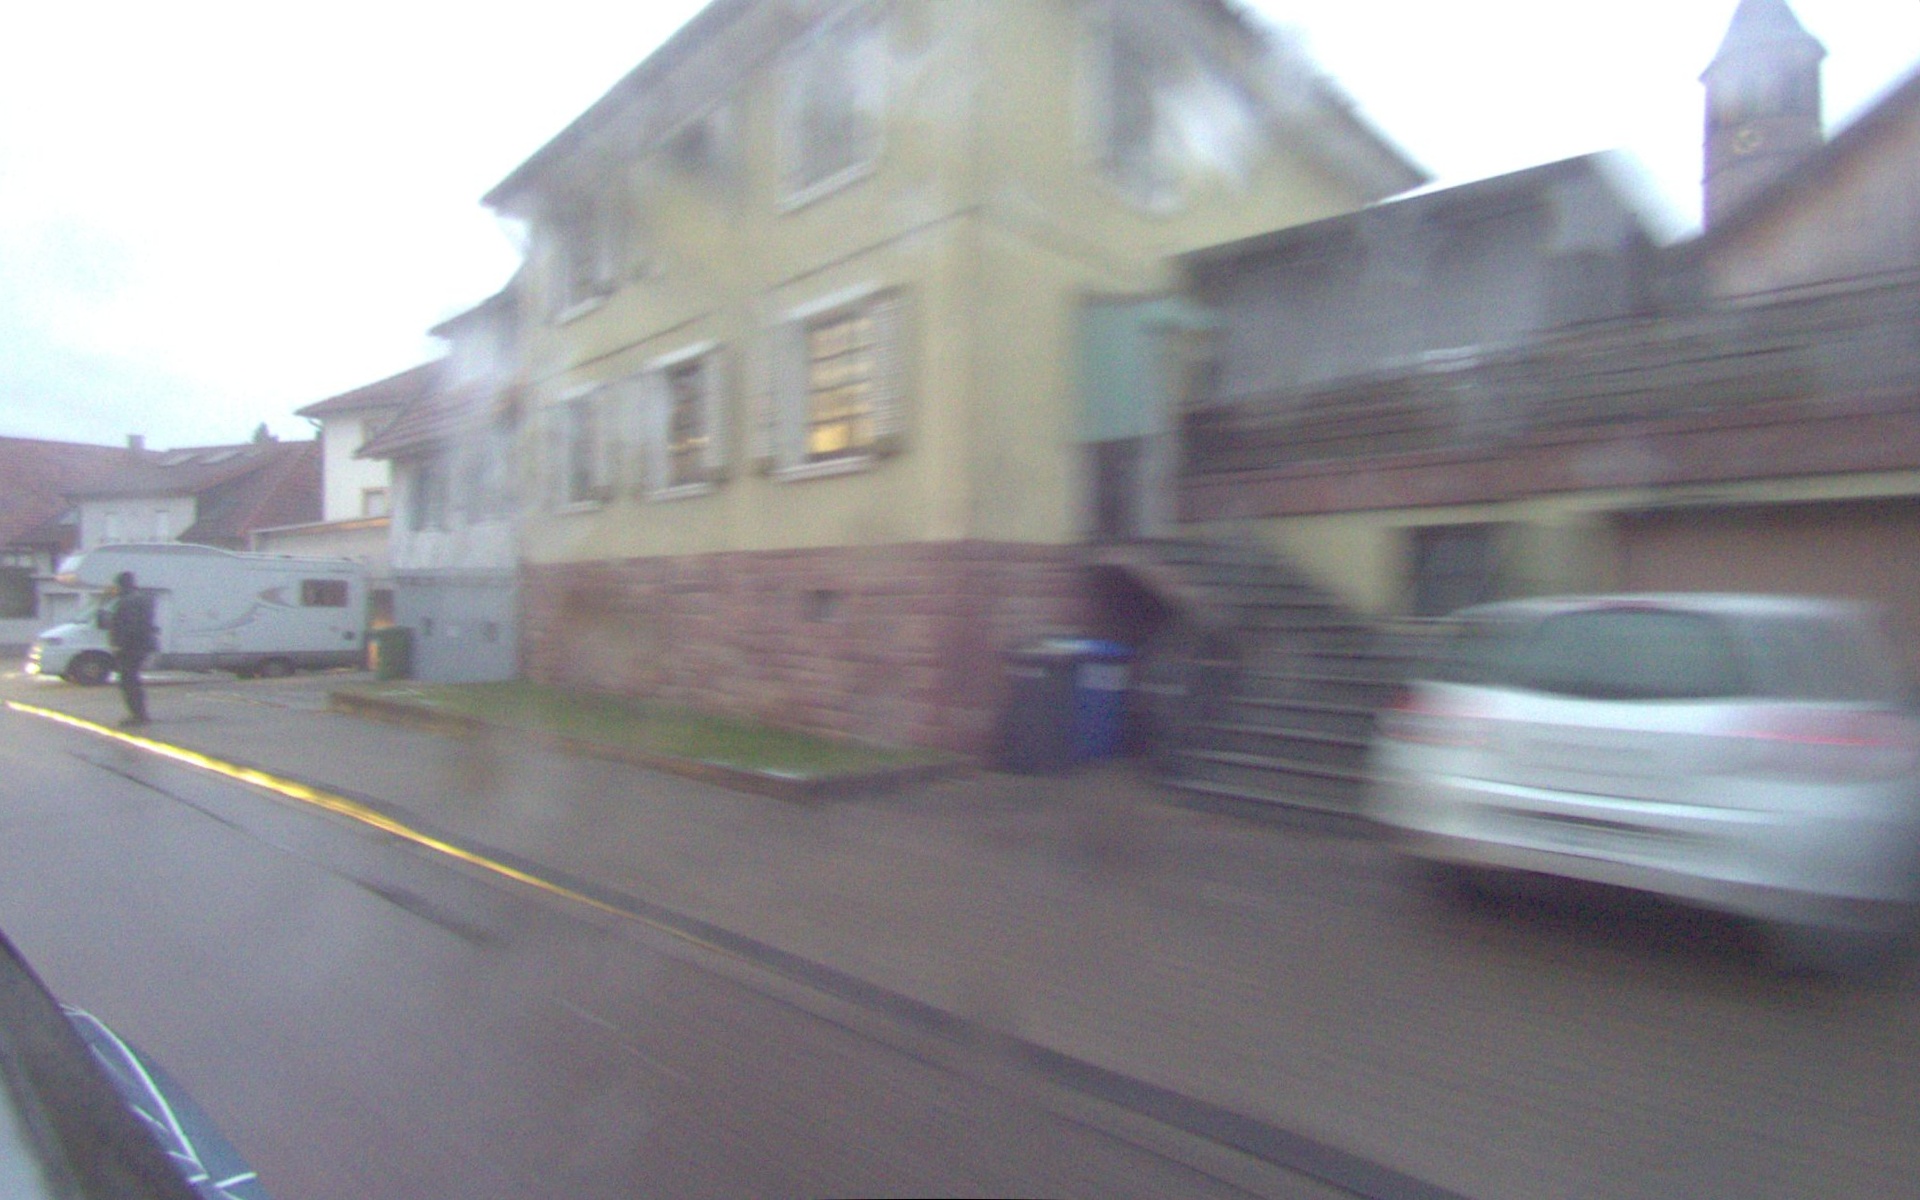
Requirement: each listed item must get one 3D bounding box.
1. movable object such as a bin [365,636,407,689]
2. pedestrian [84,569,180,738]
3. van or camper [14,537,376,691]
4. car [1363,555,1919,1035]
[{"bbox_3d":[-11.485,1.240,20.249,0.609,1.028,0.581,0,-1,-44],"label":"movable object such as a bin"},{"bbox_3d":[-10.410,0.635,12.721,0.869,2.029,0.775,-1,1,41],"label":"pedestrian"},{"bbox_3d":[-16.759,0.421,22.542,2.322,2.964,5.995,-1,-3,40],"label":"van or camper"},{"bbox_3d":[4.052,0.656,5.301,4.549,1.482,1.893,1,-2,-44],"label":"car"}]
